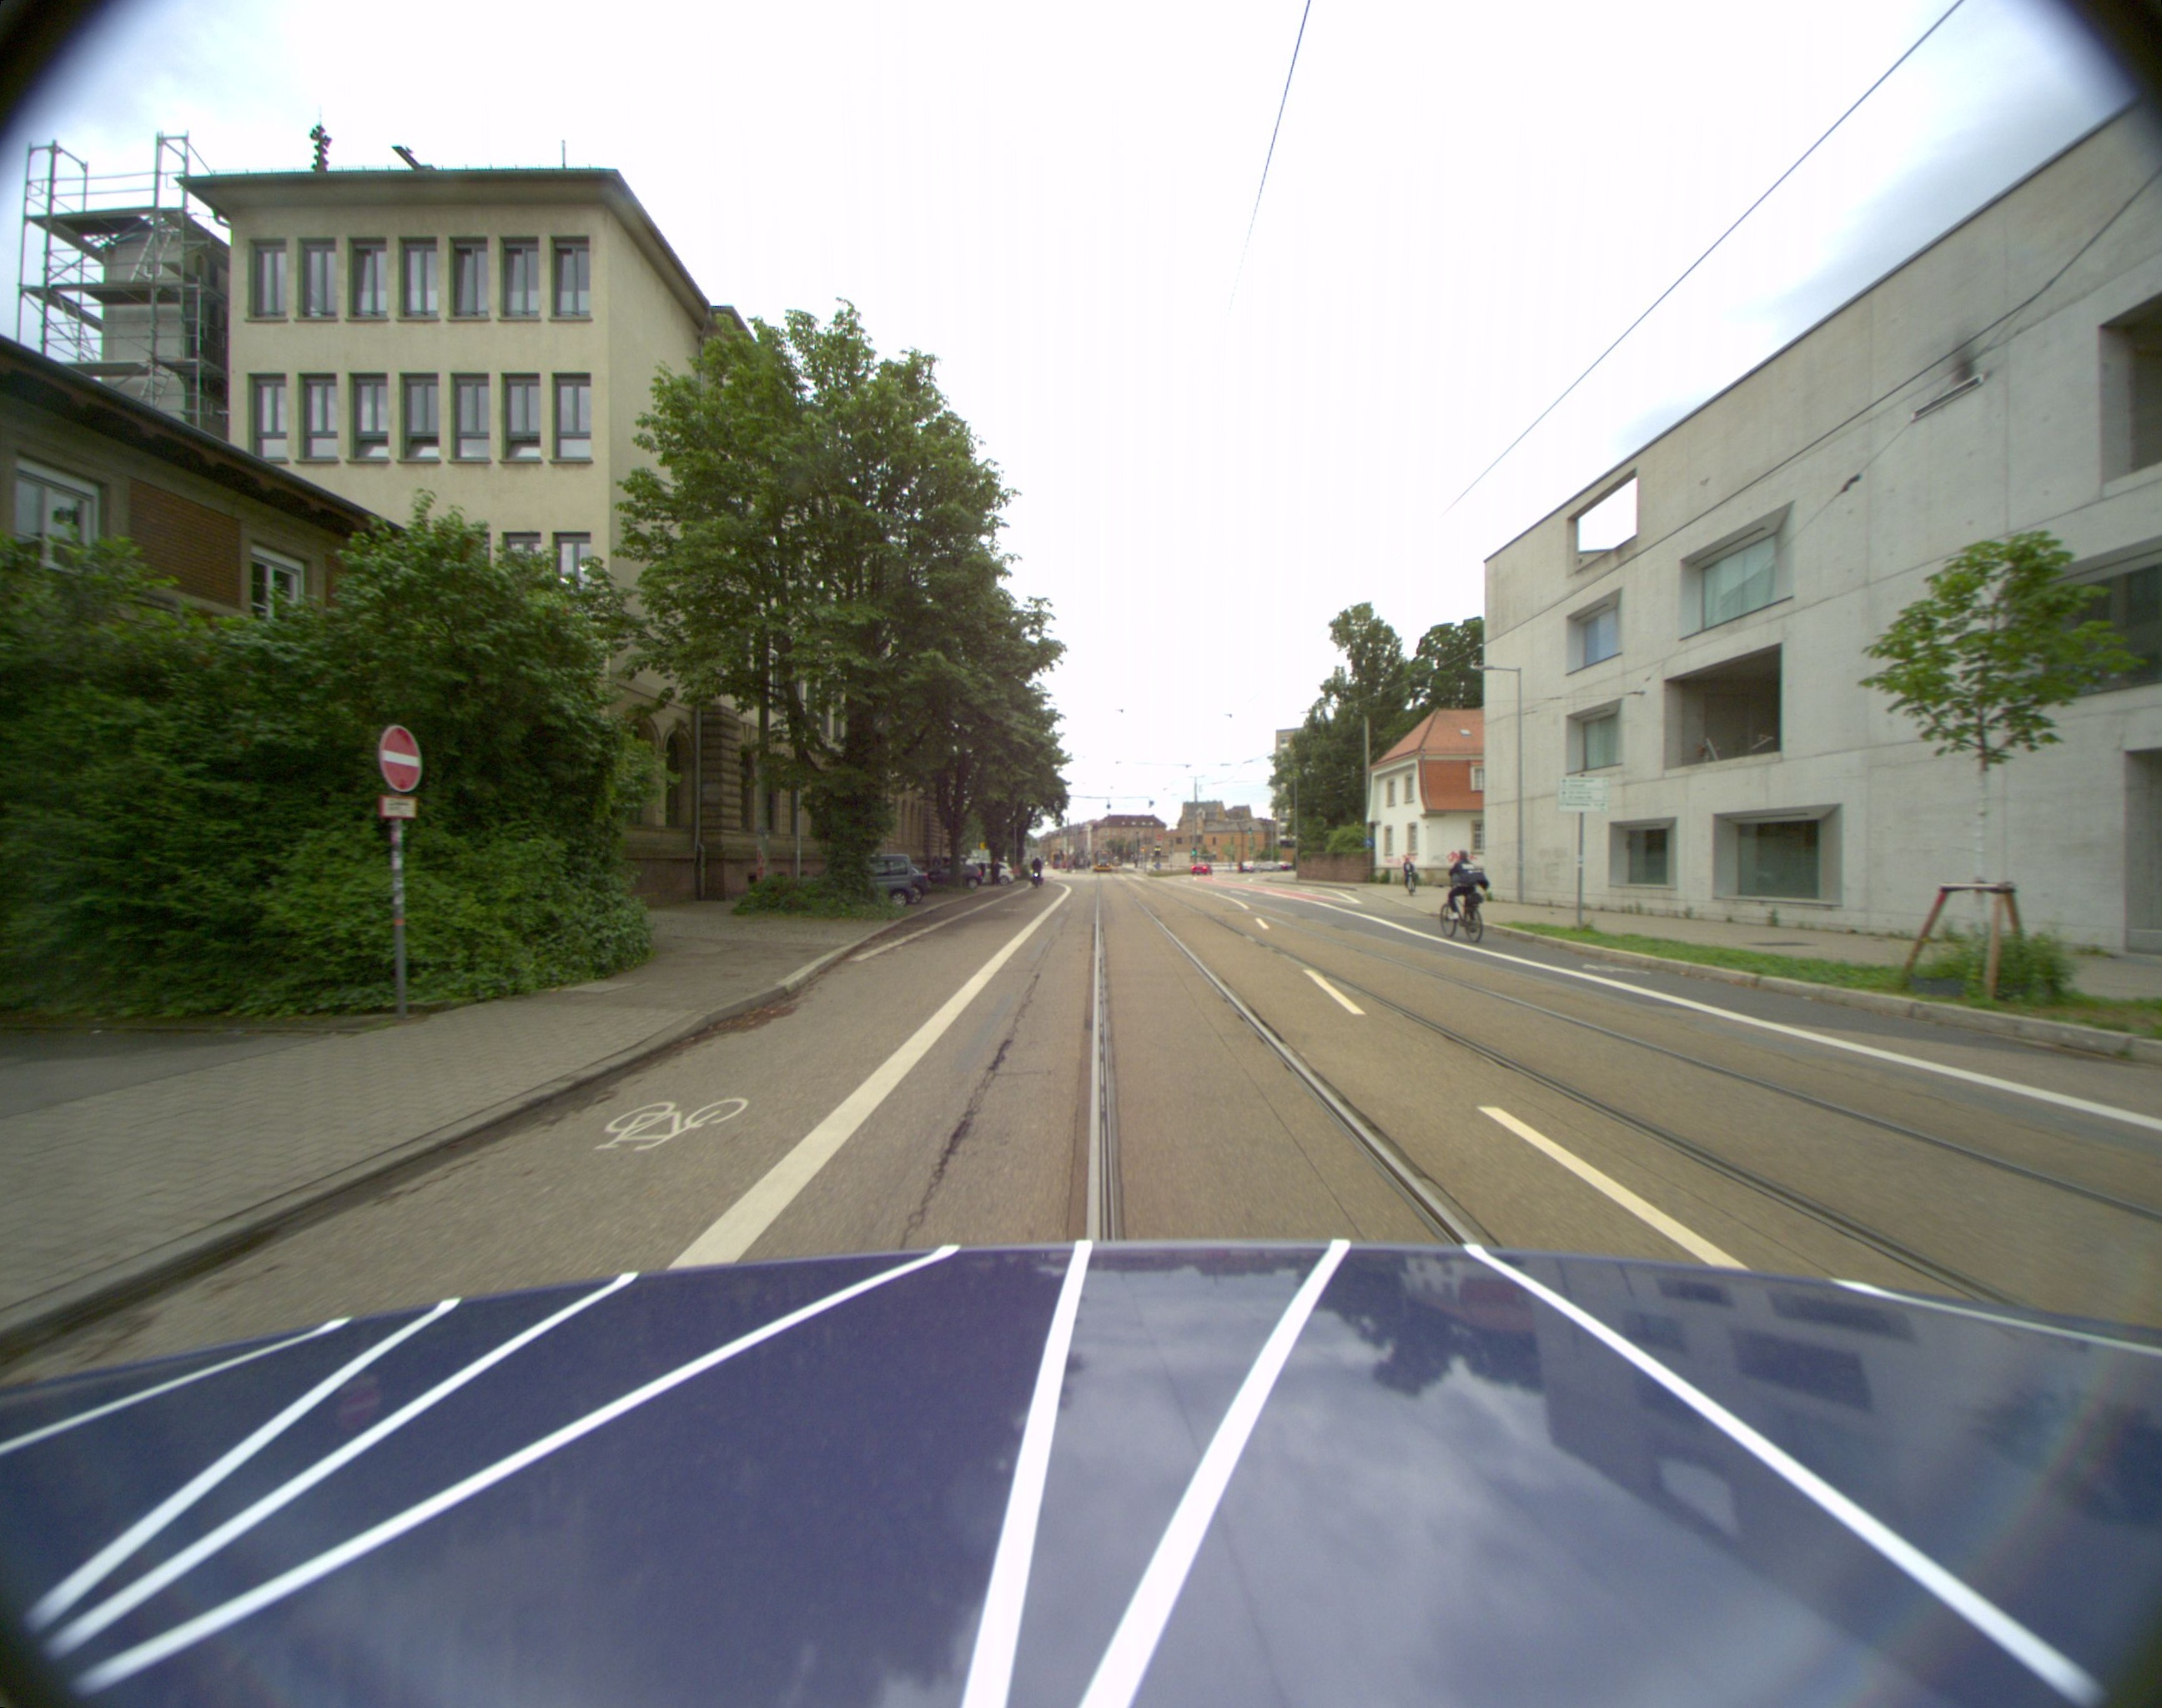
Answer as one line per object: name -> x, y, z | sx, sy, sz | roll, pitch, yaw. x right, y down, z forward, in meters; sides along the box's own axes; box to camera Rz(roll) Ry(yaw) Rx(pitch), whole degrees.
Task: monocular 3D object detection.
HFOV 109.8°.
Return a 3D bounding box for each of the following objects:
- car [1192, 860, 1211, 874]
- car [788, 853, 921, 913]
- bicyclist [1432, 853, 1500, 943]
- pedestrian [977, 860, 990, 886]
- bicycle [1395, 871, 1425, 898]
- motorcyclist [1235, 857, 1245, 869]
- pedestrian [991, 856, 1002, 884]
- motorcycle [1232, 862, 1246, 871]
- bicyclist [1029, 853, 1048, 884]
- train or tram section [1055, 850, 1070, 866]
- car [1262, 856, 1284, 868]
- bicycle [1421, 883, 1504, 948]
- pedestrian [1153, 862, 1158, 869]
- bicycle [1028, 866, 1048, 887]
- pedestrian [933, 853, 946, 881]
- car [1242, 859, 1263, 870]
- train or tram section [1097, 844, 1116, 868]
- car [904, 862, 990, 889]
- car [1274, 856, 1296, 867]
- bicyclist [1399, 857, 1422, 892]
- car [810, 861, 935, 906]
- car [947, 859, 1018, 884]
car -> 14.178, 1.512, 89.294 | 1.758, 1.490, 4.005 | 1, 0, 15
car -> -7.361, 0.904, 24.768 | 3.846, 1.810, 1.803 | 1, 0, -30
bicyclist -> 7.947, 0.881, 15.752 | 0.793, 1.773, 1.148 | 3, 0, 4
pedestrian -> -6.116, 1.167, 47.675 | 0.645, 1.616, 0.591 | 0, 0, -22
bicycle -> 15.816, 1.448, 36.537 | 0.775, 1.205, 1.869 | 0, 0, 5
motorcyclist -> 20.886, 1.187, 99.804 | 1.074, 1.477, 1.254 | 0, 0, 28
pedestrian -> -5.306, 0.985, 47.738 | 0.614, 1.740, 0.685 | 0, 0, -13
motorcycle -> 20.650, 1.619, 99.328 | 1.053, 1.063, 2.653 | 0, 0, 27
bicyclist -> -2.507, 0.875, 45.079 | 0.881, 1.811, 1.479 | 0, -2, 6
train or tram section -> -3.443, 0.665, 141.187 | 2.609, 2.935, 4.966 | 0, 0, -1
car -> 27.572, 1.181, 109.211 | 1.682, 1.640, 3.989 | 0, 0, 36
bicycle -> 7.939, 1.245, 15.921 | 0.793, 1.179, 2.011 | 3, 0, 4
pedestrian -> 10.367, 1.590, 105.900 | 0.544, 1.050, 0.638 | 0, 0, 10
bicycle -> -2.523, 1.332, 44.922 | 0.852, 1.234, 2.311 | 0, -2, 6
pedestrian -> -9.515, 0.868, 51.147 | 0.680, 1.828, 0.751 | 2, 0, 1
car -> 23.265, 1.410, 103.006 | 1.490, 1.500, 3.477 | 0, 0, 35
train or tram section -> 3.811, 0.311, 116.383 | 2.631, 3.659, 5.985 | 0, 0, -1
car -> -7.342, 1.152, 41.700 | 4.339, 1.394, 1.750 | 0, 0, -32
car -> 30.627, 1.082, 113.924 | 1.781, 1.601, 4.333 | 0, 0, 36
bicyclist -> 15.810, 0.964, 36.448 | 0.775, 1.680, 0.869 | 0, 0, 5
car -> -7.563, 1.047, 27.683 | 4.007, 1.530, 1.860 | 1, -1, -34
car -> -6.428, 1.128, 49.482 | 4.330, 1.542, 1.747 | 0, 0, -21
